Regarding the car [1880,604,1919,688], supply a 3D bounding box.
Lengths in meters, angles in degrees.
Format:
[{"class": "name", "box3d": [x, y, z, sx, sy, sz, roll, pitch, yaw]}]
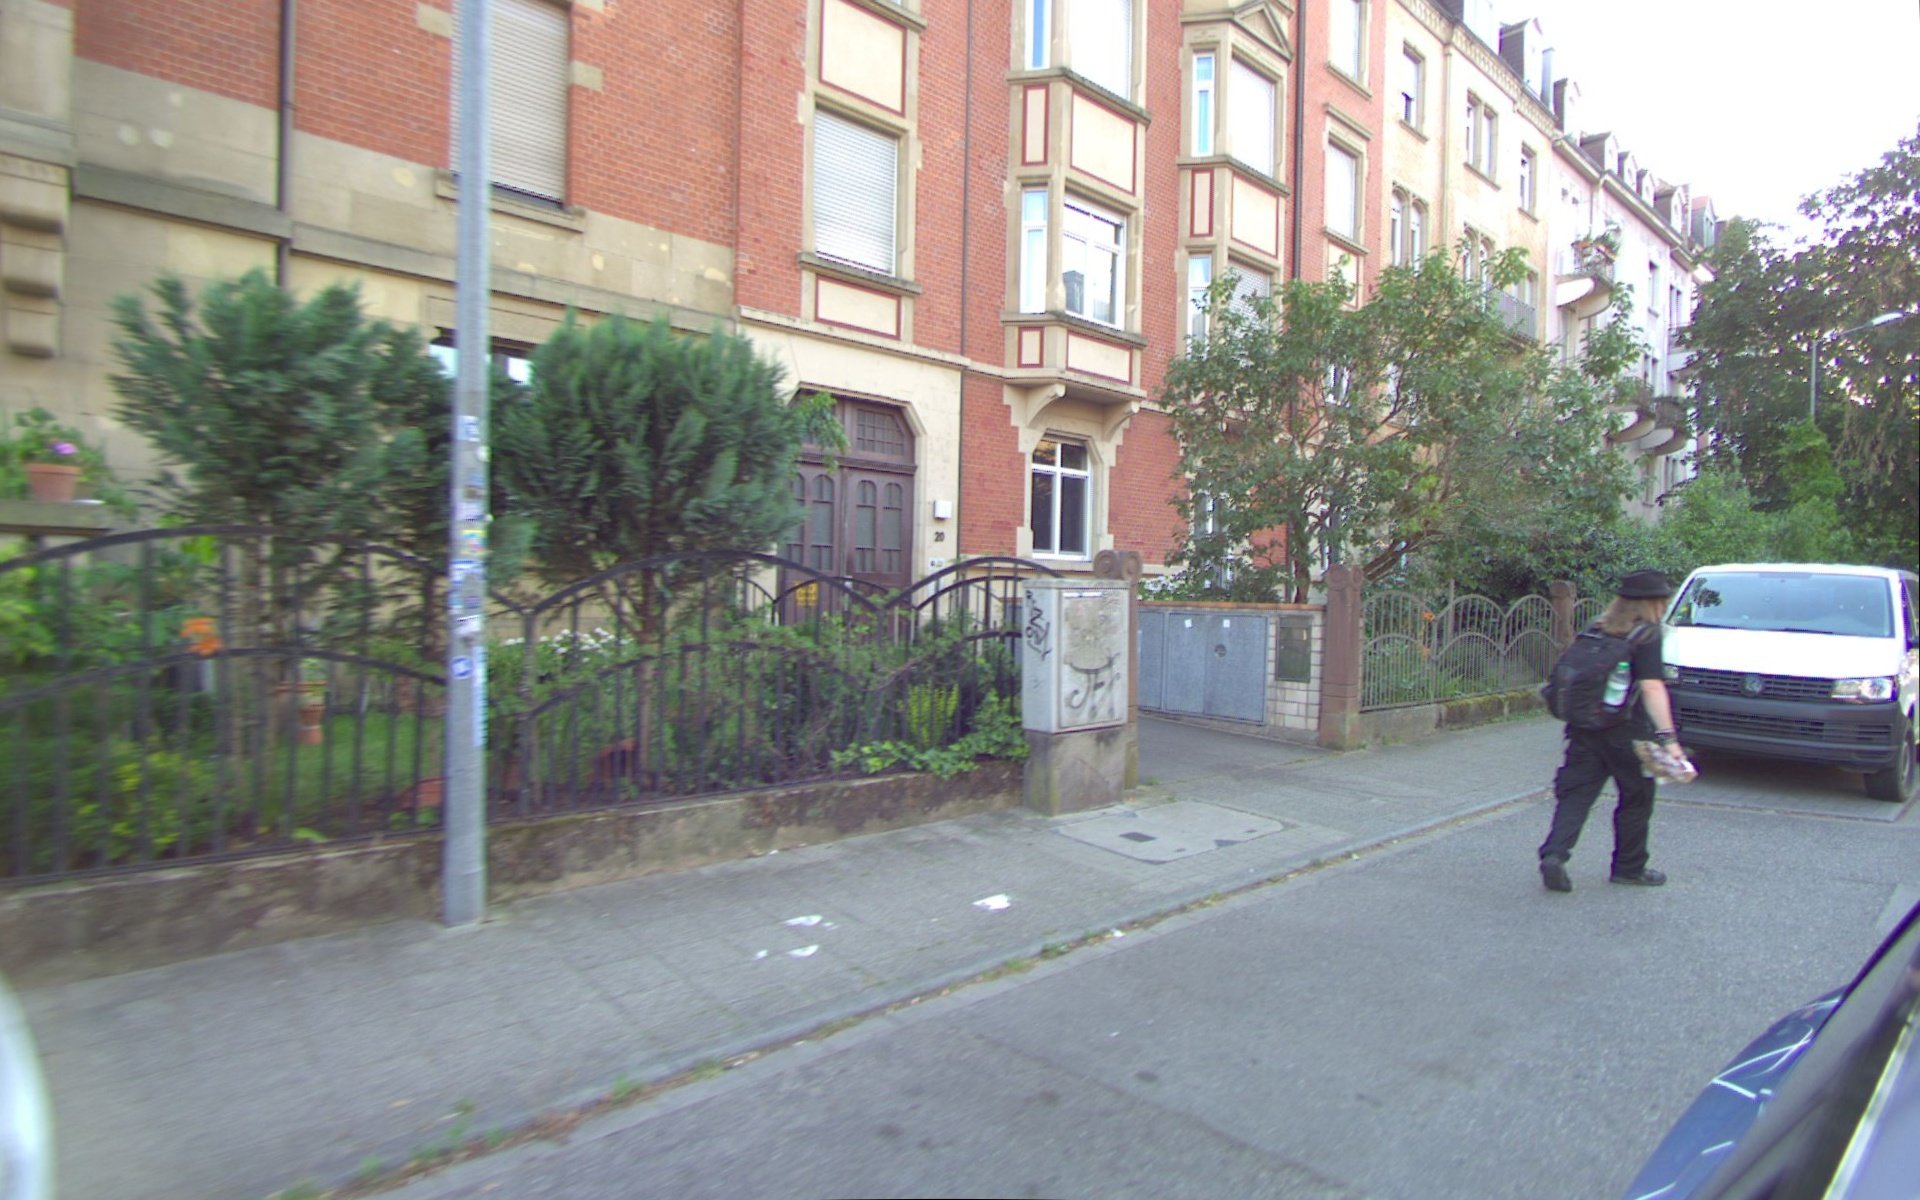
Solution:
[{"class": "car", "box3d": [20.519, 0.892, 20.778, 4.755, 1.602, 1.760, 0, 0, -40]}]

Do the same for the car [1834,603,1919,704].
[{"class": "car", "box3d": [16.620, 0.844, 17.395, 4.247, 1.570, 1.724, 0, 0, -39]}]

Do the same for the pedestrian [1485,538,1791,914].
[{"class": "pedestrian", "box3d": [3.447, 0.584, 5.227, 0.939, 1.744, 0.893, 0, -1, -11]}]

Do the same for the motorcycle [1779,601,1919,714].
[{"class": "motorcycle", "box3d": [13.557, 0.837, 14.825, 2.066, 1.500, 1.128, 3, 2, 16]}]

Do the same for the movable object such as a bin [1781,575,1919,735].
[{"class": "movable object such as a bin", "box3d": [12.152, 0.658, 13.539, 2.285, 1.901, 1.414, 0, 3, -42]}]

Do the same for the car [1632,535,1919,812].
[{"class": "car", "box3d": [8.616, 0.509, 10.110, 5.450, 2.064, 1.864, 0, 3, -43]}]

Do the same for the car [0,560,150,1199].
[{"class": "car", "box3d": [-2.626, 0.708, 0.224, 3.792, 1.496, 1.678, 0, 0, -39]}]
